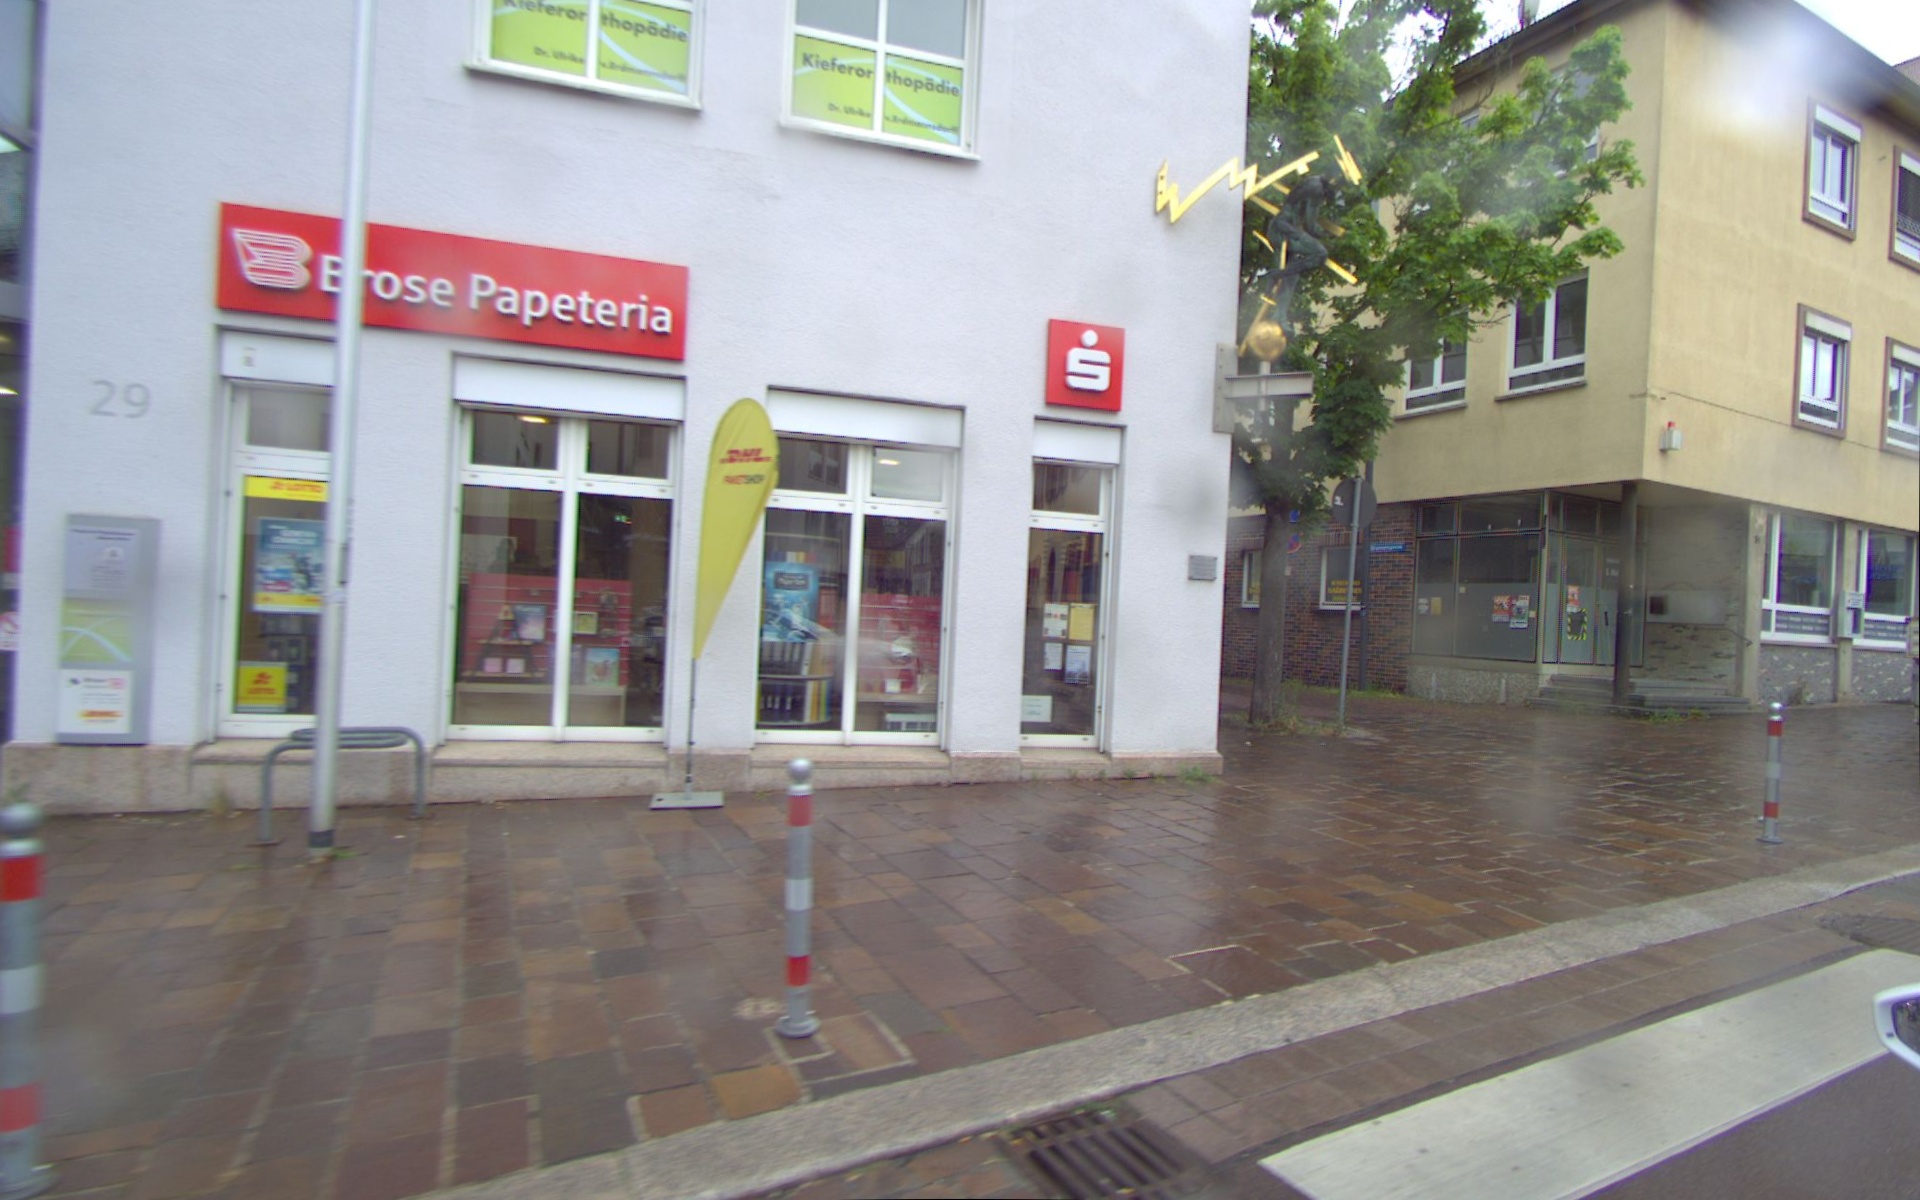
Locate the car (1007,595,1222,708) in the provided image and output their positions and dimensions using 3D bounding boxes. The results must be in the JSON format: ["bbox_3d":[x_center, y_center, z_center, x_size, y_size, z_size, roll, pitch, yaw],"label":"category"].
[{"bbox_3d":[2.328,0.762,16.247,1.934,1.585,3.986,1,-1,-16],"label":"car"}]

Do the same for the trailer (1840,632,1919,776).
[{"bbox_3d":[10.735,1.041,10.387,3.127,1.364,1.717,1,0,-34],"label":"trailer"}]

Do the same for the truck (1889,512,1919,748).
[{"bbox_3d":[14.739,0.388,13.058,6.530,2.832,2.458,1,0,-34],"label":"truck"}]
